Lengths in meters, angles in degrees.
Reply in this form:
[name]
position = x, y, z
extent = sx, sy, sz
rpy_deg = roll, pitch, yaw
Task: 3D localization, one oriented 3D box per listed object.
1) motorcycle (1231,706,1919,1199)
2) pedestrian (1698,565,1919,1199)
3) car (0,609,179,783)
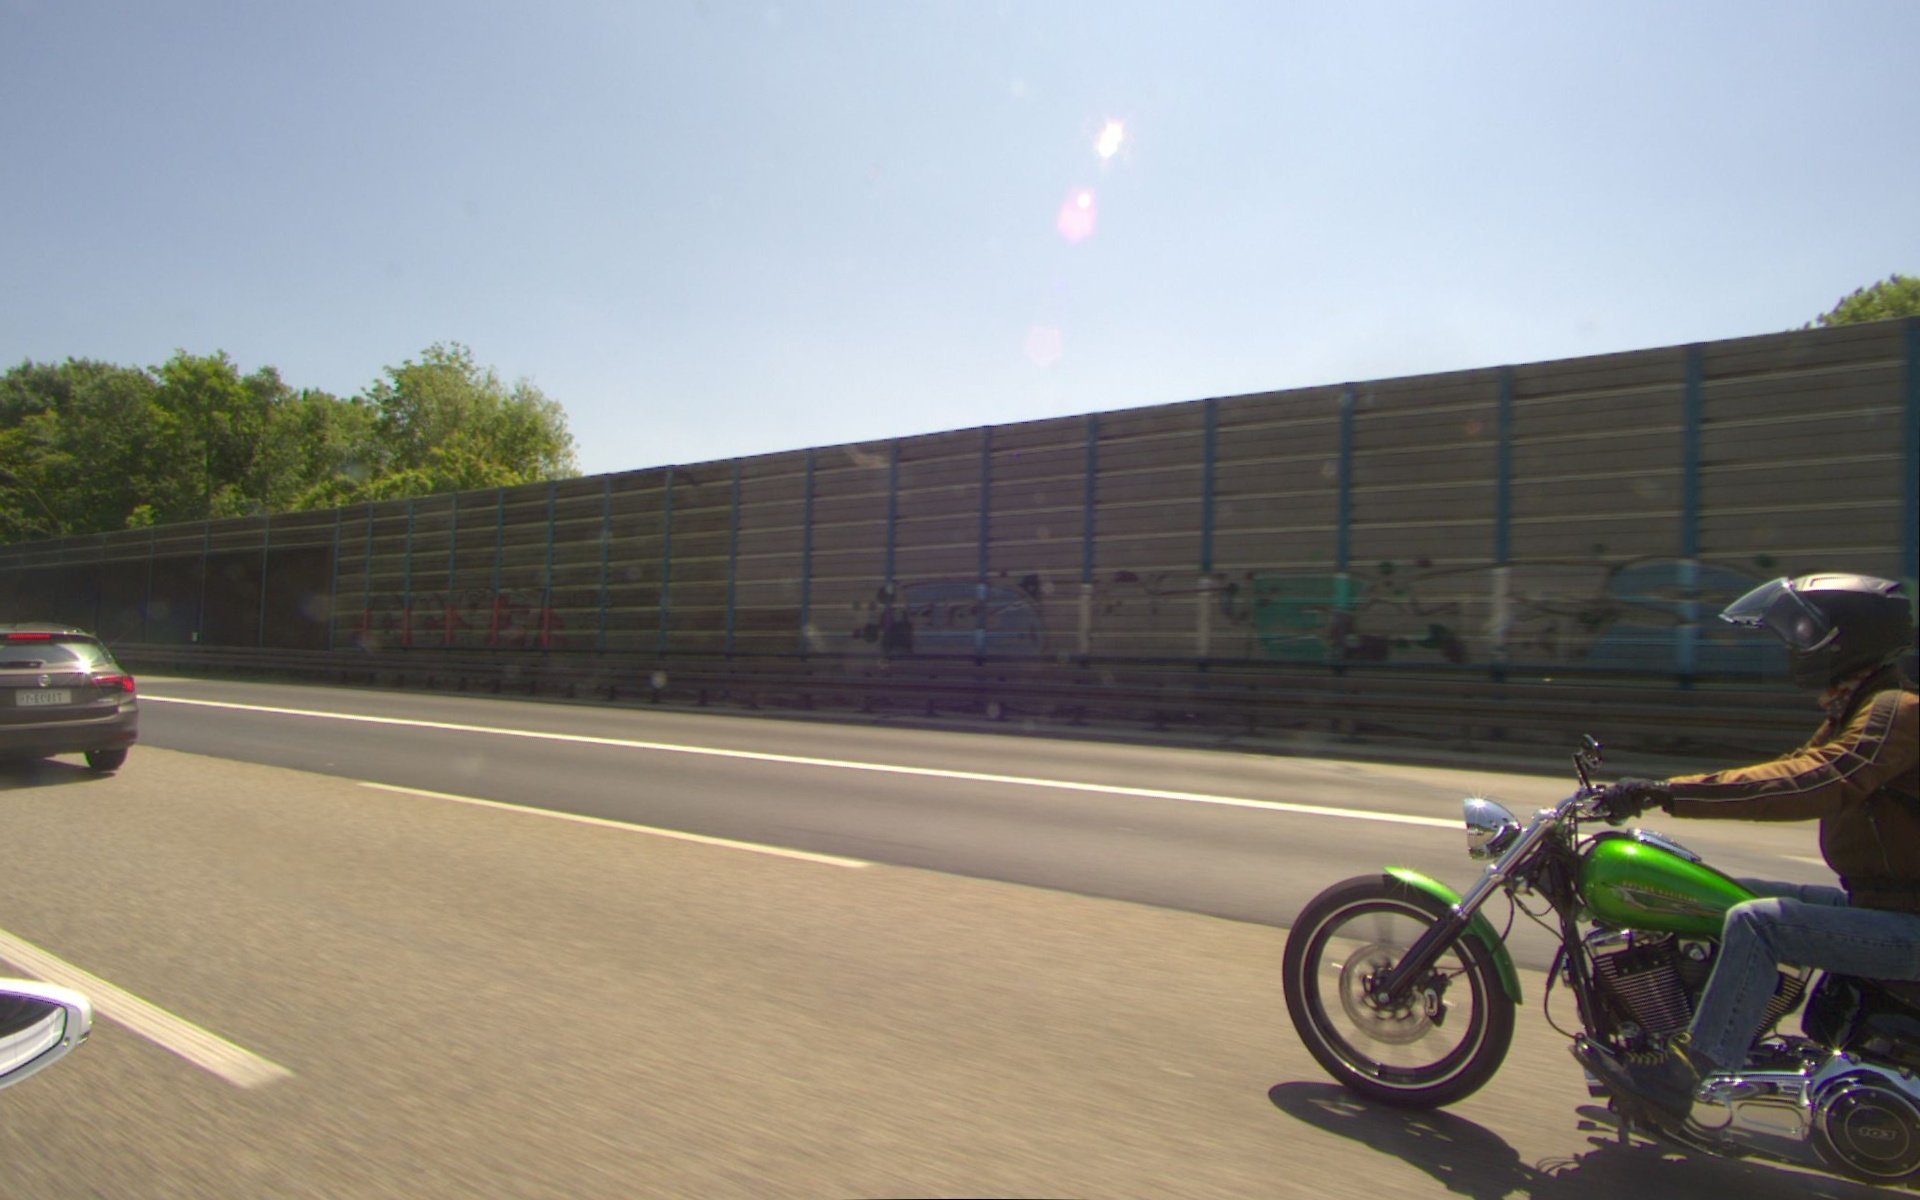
[motorcycle]
position = 1.994, 0.977, 2.775
extent = 2.245, 1.197, 0.857
rpy_deg = 0, -2, 35
[pedestrian]
position = 2.306, 0.686, 2.565
extent = 0.629, 1.498, 0.849
rpy_deg = 0, -1, 34
[car]
position = -10.116, 0.873, 10.304
extent = 4.337, 1.532, 1.836
rpy_deg = 0, -2, 31
